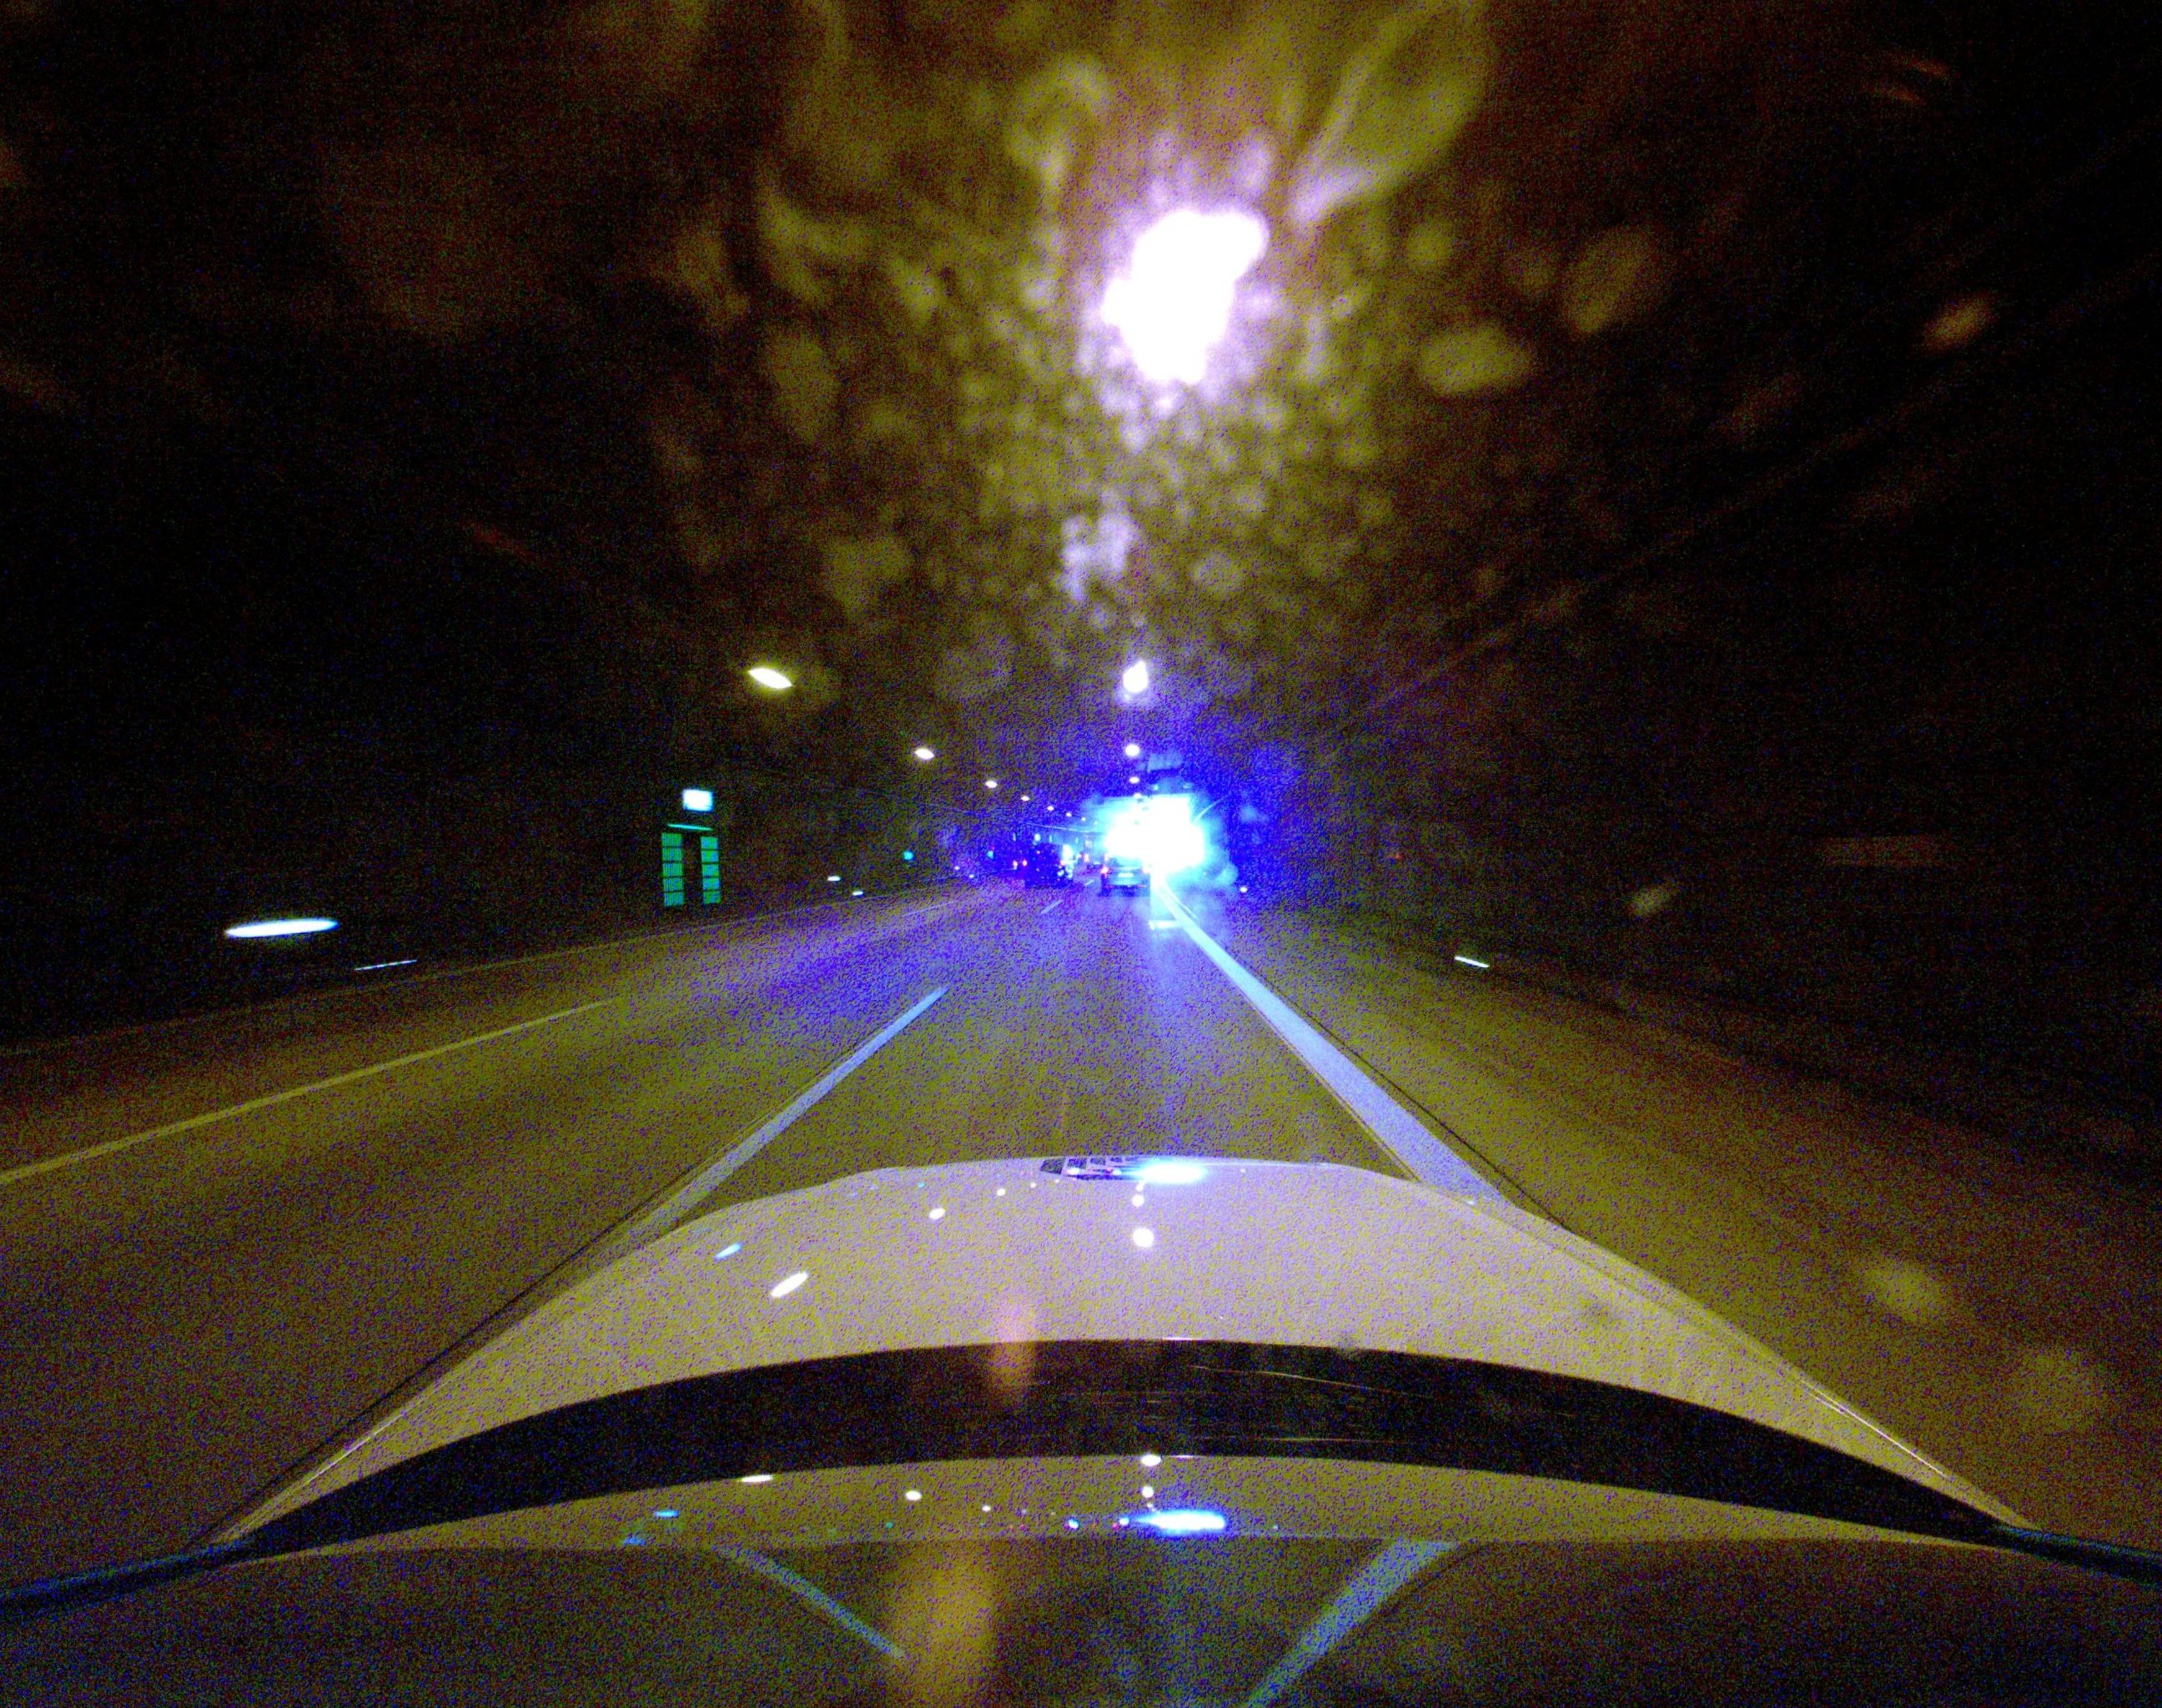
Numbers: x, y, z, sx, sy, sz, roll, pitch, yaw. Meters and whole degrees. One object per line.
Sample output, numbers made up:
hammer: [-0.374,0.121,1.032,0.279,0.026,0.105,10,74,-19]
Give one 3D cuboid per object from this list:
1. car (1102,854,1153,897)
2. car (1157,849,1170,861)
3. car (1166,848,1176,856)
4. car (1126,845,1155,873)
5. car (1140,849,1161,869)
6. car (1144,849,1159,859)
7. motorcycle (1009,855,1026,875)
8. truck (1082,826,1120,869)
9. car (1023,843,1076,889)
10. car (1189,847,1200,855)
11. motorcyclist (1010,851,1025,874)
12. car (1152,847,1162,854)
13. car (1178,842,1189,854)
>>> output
car: [1.741,0.738,30.264,1.735,1.464,3.875,-1,0,3]
car: [12.384,0.127,122.190,1.921,1.643,4.006,-1,-2,6]
car: [22.543,-0.492,203.511,1.917,1.643,4.015,-1,-2,14]
car: [4.181,0.353,57.058,1.847,1.854,4.007,-1,0,6]
car: [6.701,0.542,78.348,1.940,1.772,4.006,-1,-2,6]
car: [12.105,0.018,140.261,1.980,1.632,4.013,-1,-1,12]
motorcycle: [-4.185,0.763,53.883,0.679,1.297,2.402,-1,-2,5]
truck: [1.923,-0.585,74.156,3.025,3.673,7.401,-1,0,4]
car: [-1.362,0.519,37.190,1.900,1.944,3.877,-1,0,5]
car: [24.166,-0.636,173.799,1.917,1.642,4.014,-1,0,12]
motorcyclist: [-4.197,0.584,53.872,0.773,1.453,1.070,-1,-2,6]
car: [17.641,-0.848,188.848,1.919,1.642,4.009,-1,0,8]
car: [19.084,-1.039,151.528,1.982,2.014,4.008,-1,-2,8]
